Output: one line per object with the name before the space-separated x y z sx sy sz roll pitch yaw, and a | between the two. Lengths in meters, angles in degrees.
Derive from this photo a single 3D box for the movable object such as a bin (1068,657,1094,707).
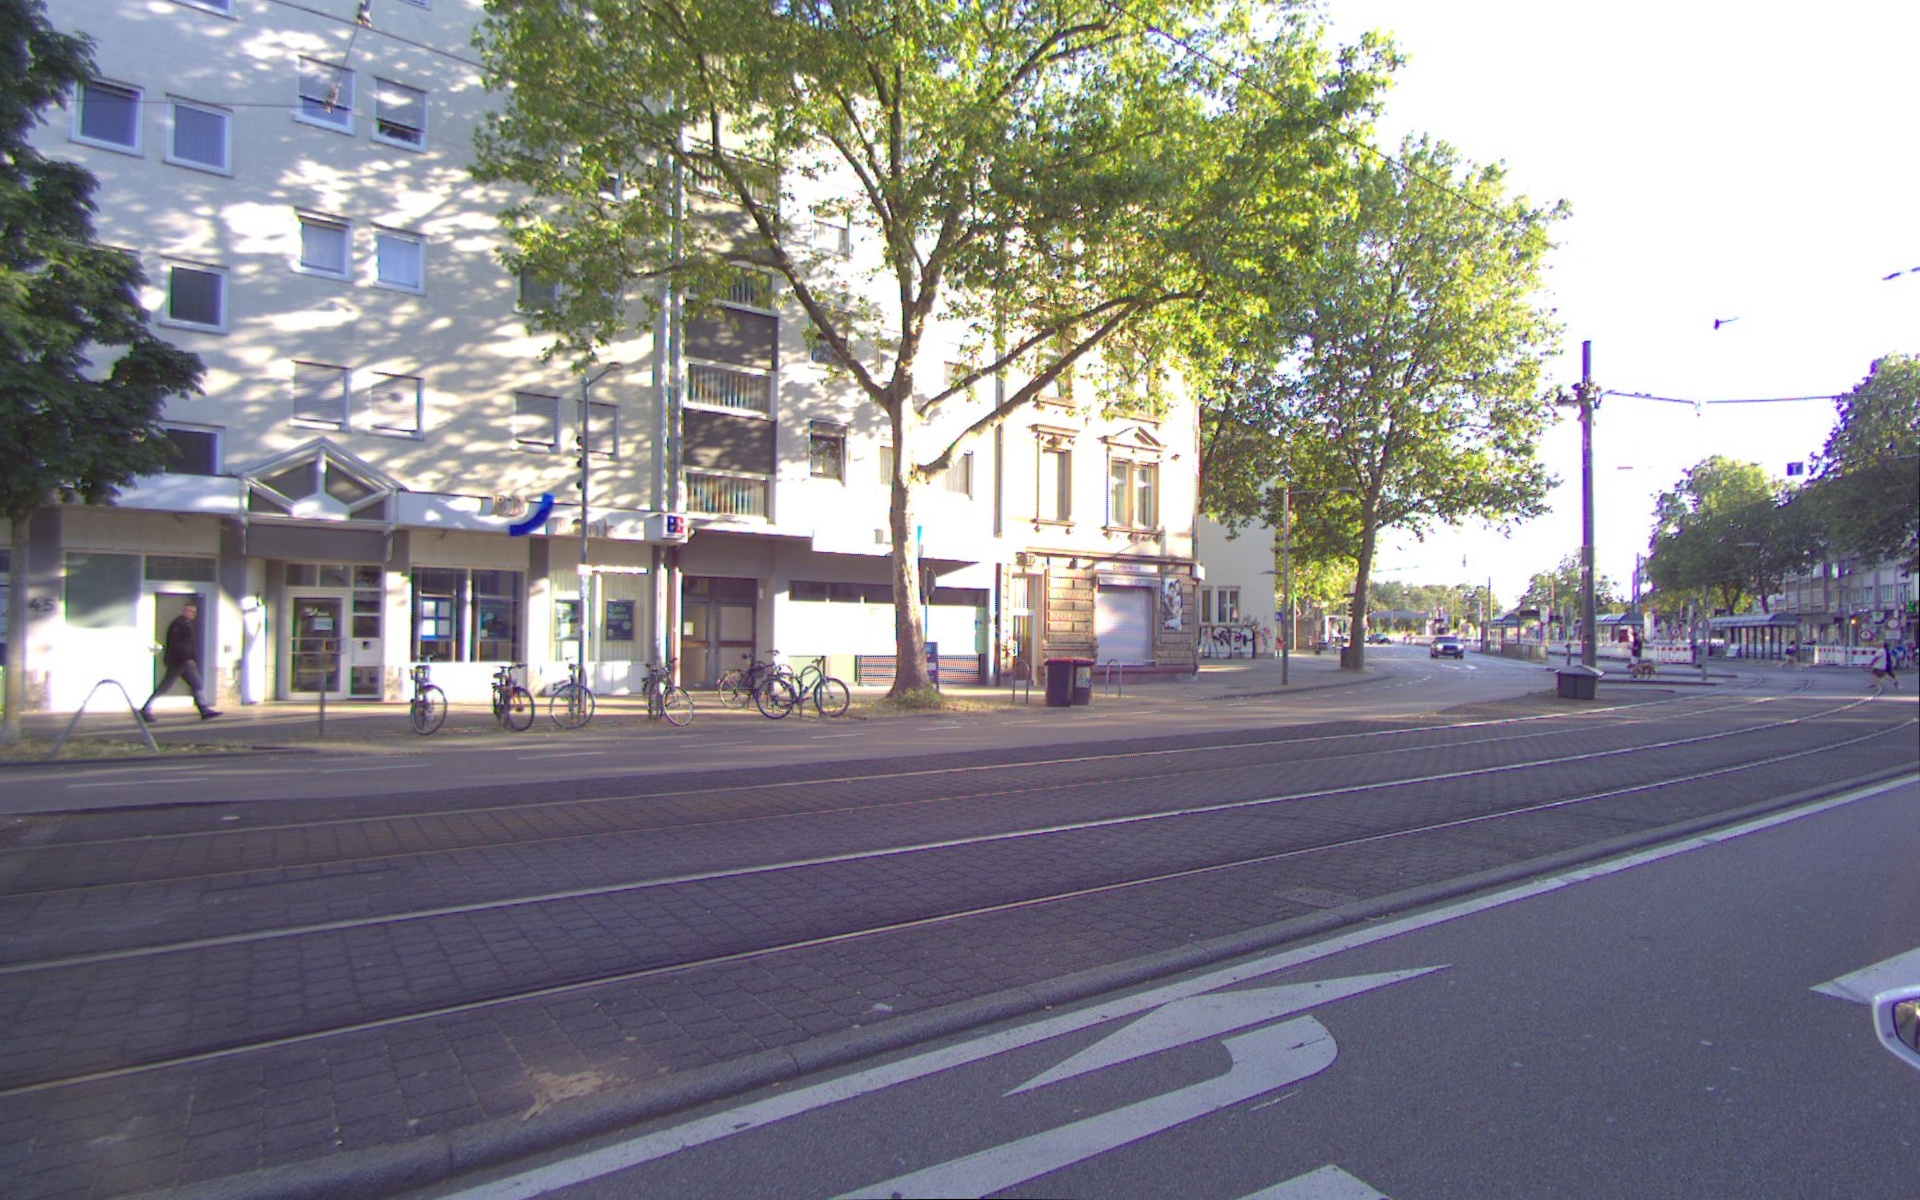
movable object such as a bin | 2.744 1.853 22.852 0.562 1.108 0.477 0 -2 5

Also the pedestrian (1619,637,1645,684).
pedestrian | 25.596 2.293 38.249 0.663 1.733 0.431 2 0 2

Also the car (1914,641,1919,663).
car | 64.530 3.402 65.861 1.635 1.488 3.412 -3 -3 22

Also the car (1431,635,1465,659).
car | 32.862 3.137 67.720 1.856 1.492 4.205 0 -2 24

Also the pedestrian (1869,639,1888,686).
pedestrian | 30.318 2.068 33.156 0.403 1.524 0.515 0 -2 37

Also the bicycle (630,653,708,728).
bicycle | -4.975 1.507 17.113 0.646 1.139 1.880 2 -1 -36

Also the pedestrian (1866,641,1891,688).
pedestrian | 29.888 2.090 32.690 0.513 1.524 0.591 -1 -2 37

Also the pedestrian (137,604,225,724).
pedestrian | -12.110 0.978 15.643 0.959 1.811 0.615 2 0 -31

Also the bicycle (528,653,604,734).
bicycle | -6.334 1.455 16.093 0.646 1.139 1.880 2 -1 -36

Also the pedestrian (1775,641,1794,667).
pedestrian | 43.497 2.840 52.993 0.768 1.321 0.591 -1 -2 40

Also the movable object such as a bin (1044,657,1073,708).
movable object such as a bin | 2.175 1.813 22.234 0.634 1.108 0.546 0 -2 5

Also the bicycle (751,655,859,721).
bicycle | -2.804 1.573 18.234 1.891 1.139 0.505 2 -1 -34

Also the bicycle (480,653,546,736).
bicycle | -6.972 1.426 15.620 0.529 1.139 1.880 2 -1 -36

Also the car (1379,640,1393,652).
car | 60.013 6.511 141.498 1.856 1.606 4.205 0 -2 24

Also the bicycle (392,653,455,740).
bicycle | -7.964 1.385 14.872 0.529 1.139 1.880 2 -1 -36

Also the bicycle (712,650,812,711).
bicycle | -3.932 1.583 20.000 1.891 1.139 0.505 2 -1 -34
